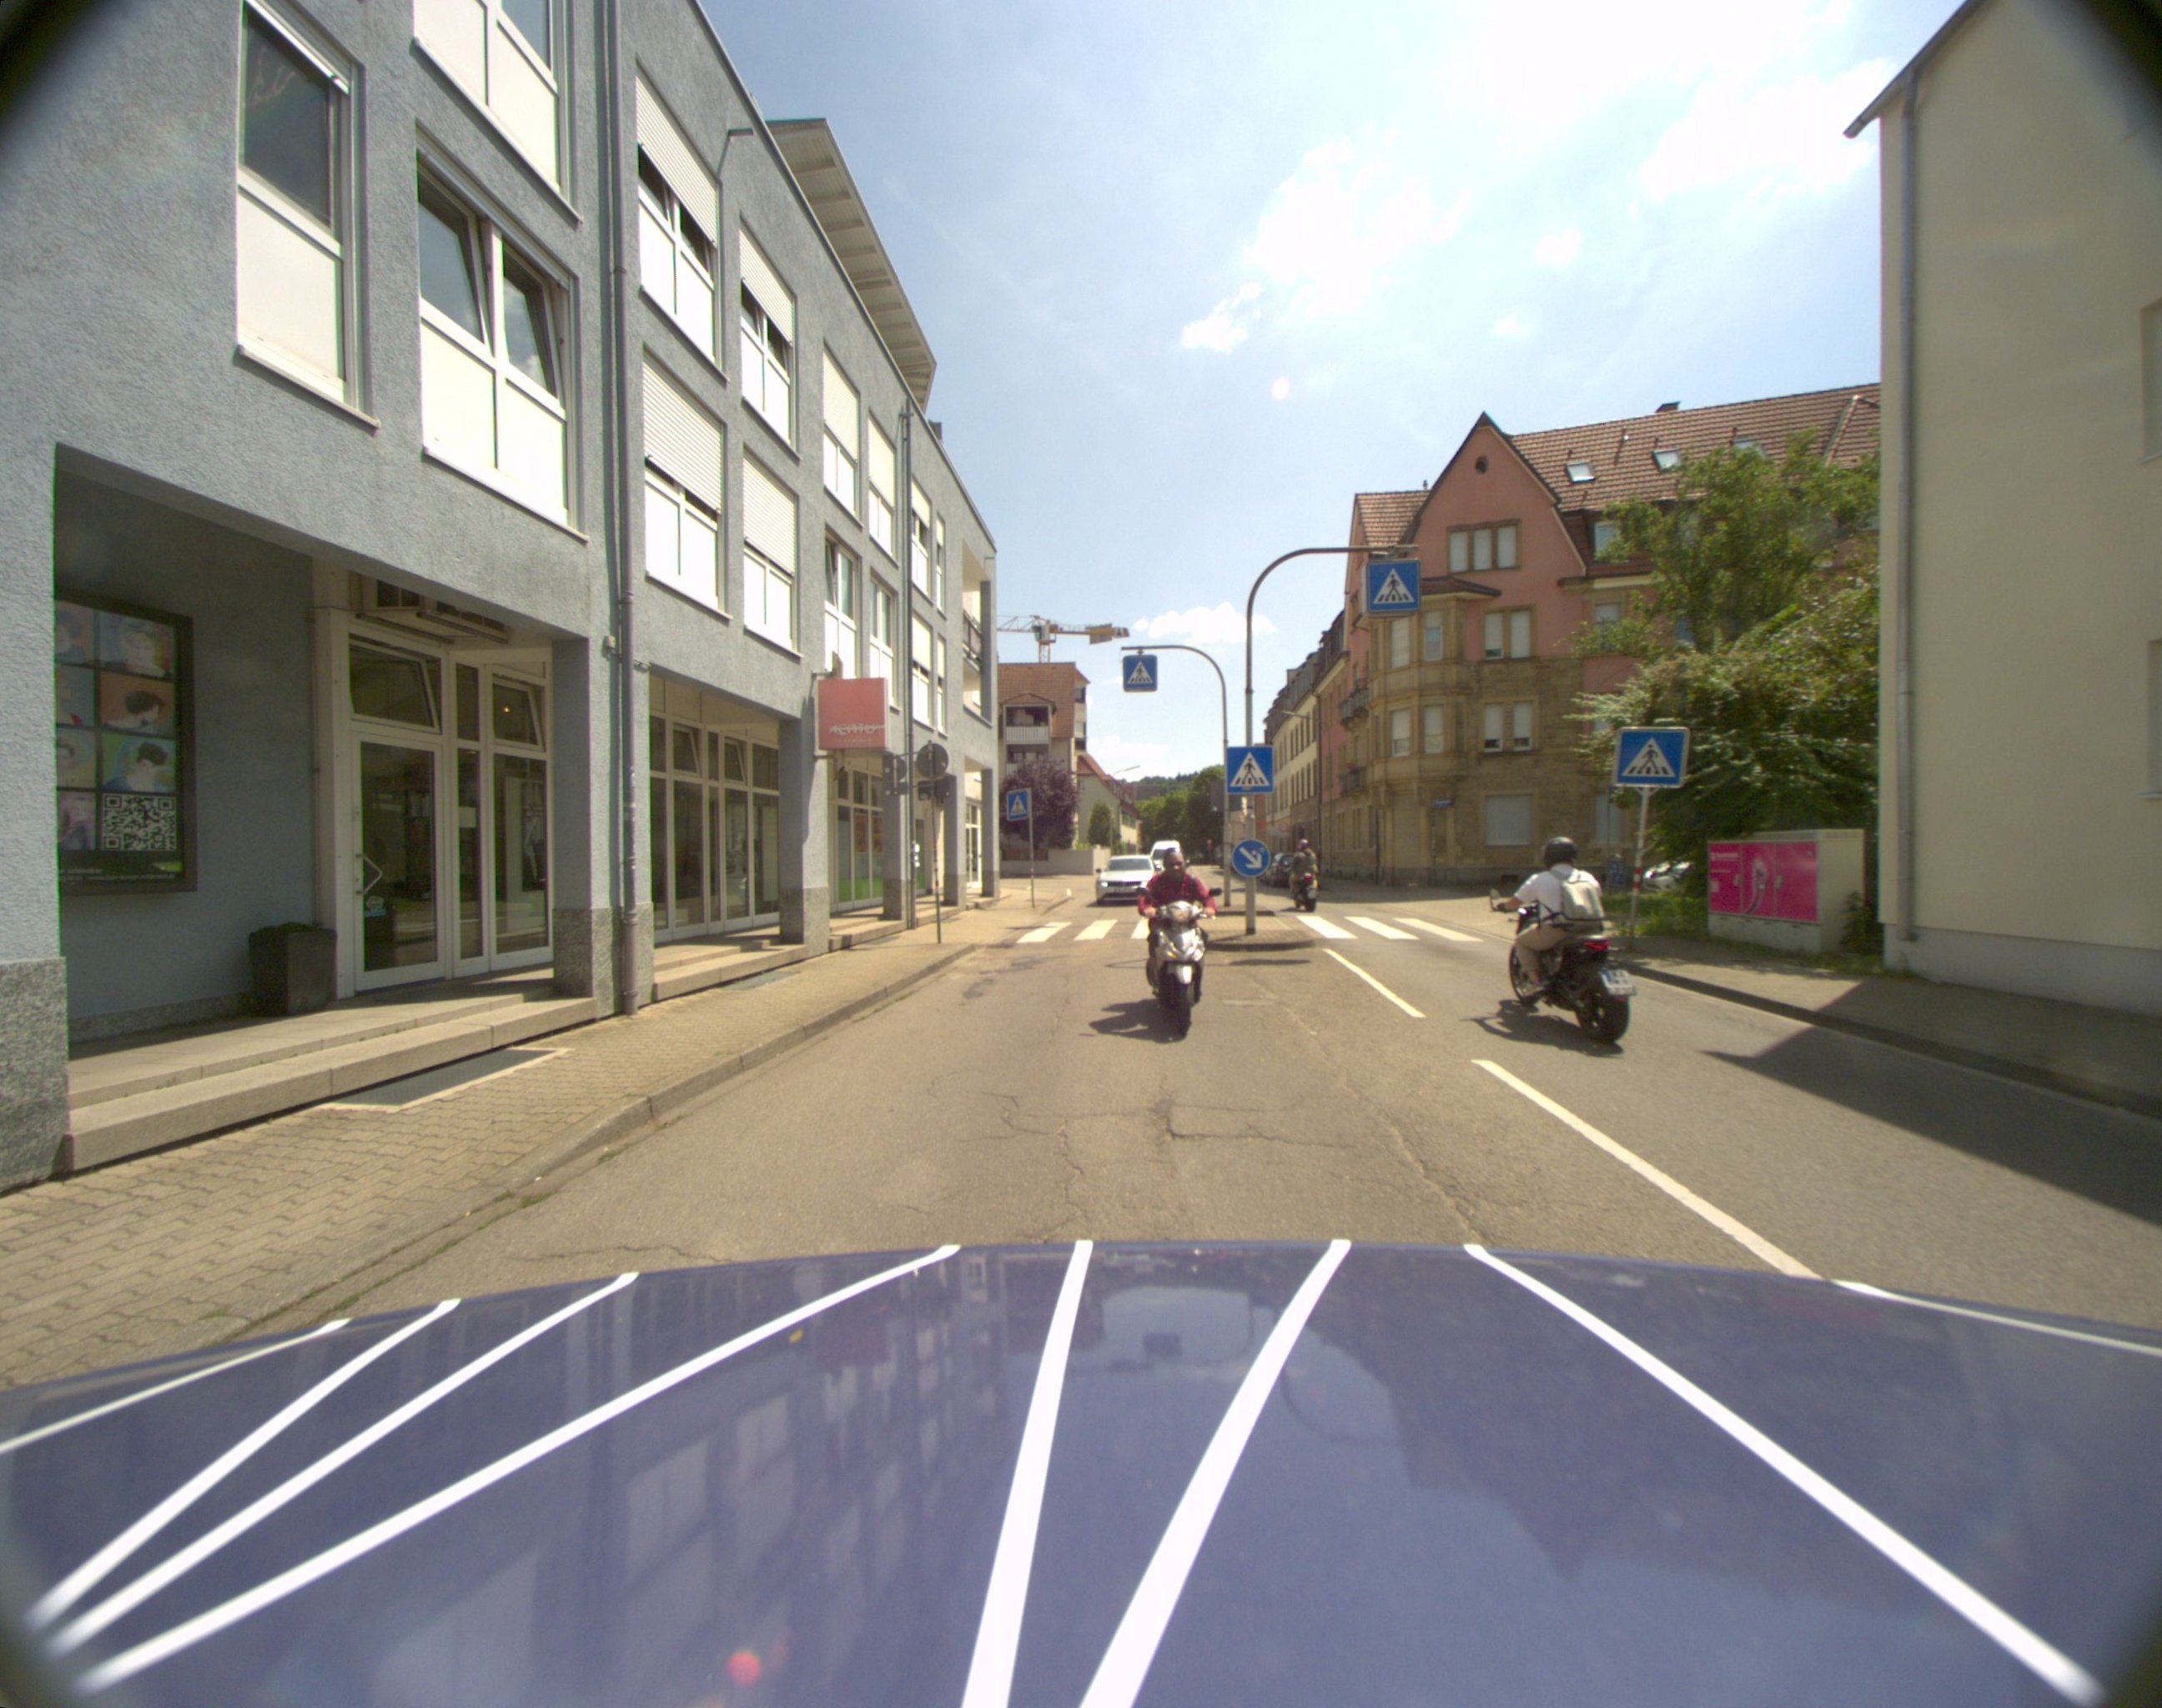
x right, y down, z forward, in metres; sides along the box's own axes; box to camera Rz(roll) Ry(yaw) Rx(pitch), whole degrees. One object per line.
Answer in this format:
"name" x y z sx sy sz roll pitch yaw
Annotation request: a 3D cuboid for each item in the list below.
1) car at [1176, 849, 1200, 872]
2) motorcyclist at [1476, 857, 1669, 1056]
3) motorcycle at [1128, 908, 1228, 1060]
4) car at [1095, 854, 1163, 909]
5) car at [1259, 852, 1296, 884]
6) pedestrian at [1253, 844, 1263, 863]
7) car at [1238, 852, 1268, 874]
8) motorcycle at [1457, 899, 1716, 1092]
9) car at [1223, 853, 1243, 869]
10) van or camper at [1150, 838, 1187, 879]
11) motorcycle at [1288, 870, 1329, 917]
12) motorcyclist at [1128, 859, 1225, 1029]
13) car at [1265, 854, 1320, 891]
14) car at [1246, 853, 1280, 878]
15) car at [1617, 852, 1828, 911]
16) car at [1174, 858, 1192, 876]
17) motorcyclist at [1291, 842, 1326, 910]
"car" 9.547 0.546 68.178 1.997 2.002 4.002 -2 0 7
"motorcyclist" 4.016 0.776 6.335 0.918 1.471 1.203 -1 1 7
"motorcycle" 0.892 1.094 6.984 0.759 1.049 1.993 -1 0 8
"car" 1.558 0.784 23.313 1.811 1.512 4.002 -1 0 7
"car" 9.721 0.670 37.758 1.439 1.514 2.697 0 1 7
"pedestrian" 16.876 -0.014 72.429 0.770 1.761 0.764 -2 0 7
"car" 11.910 0.603 52.765 1.601 1.433 3.497 0 0 6
"motorcycle" 4.013 1.034 6.328 0.898 1.169 2.209 -1 1 7
"car" 15.215 0.693 76.149 1.713 1.451 3.855 1 0 7
"van or camper" 5.117 0.263 44.403 1.997 2.274 5.147 0 0 7
"motorcycle" 5.583 0.937 18.750 0.714 1.022 2.241 1 0 10
"motorcyclist" 0.876 0.774 6.976 0.792 1.431 1.021 -1 0 7
"car" 9.208 0.754 33.359 1.786 1.450 4.637 0 1 9
"car" 11.130 0.653 46.570 1.637 1.423 4.021 1 0 8
"car" 17.362 0.720 20.776 3.993 1.493 1.871 -1 0 12
"car" 11.994 1.517 89.132 1.997 2.002 4.002 -2 0 9
"motorcyclist" 5.588 0.530 18.711 0.714 1.625 1.069 1 1 10
